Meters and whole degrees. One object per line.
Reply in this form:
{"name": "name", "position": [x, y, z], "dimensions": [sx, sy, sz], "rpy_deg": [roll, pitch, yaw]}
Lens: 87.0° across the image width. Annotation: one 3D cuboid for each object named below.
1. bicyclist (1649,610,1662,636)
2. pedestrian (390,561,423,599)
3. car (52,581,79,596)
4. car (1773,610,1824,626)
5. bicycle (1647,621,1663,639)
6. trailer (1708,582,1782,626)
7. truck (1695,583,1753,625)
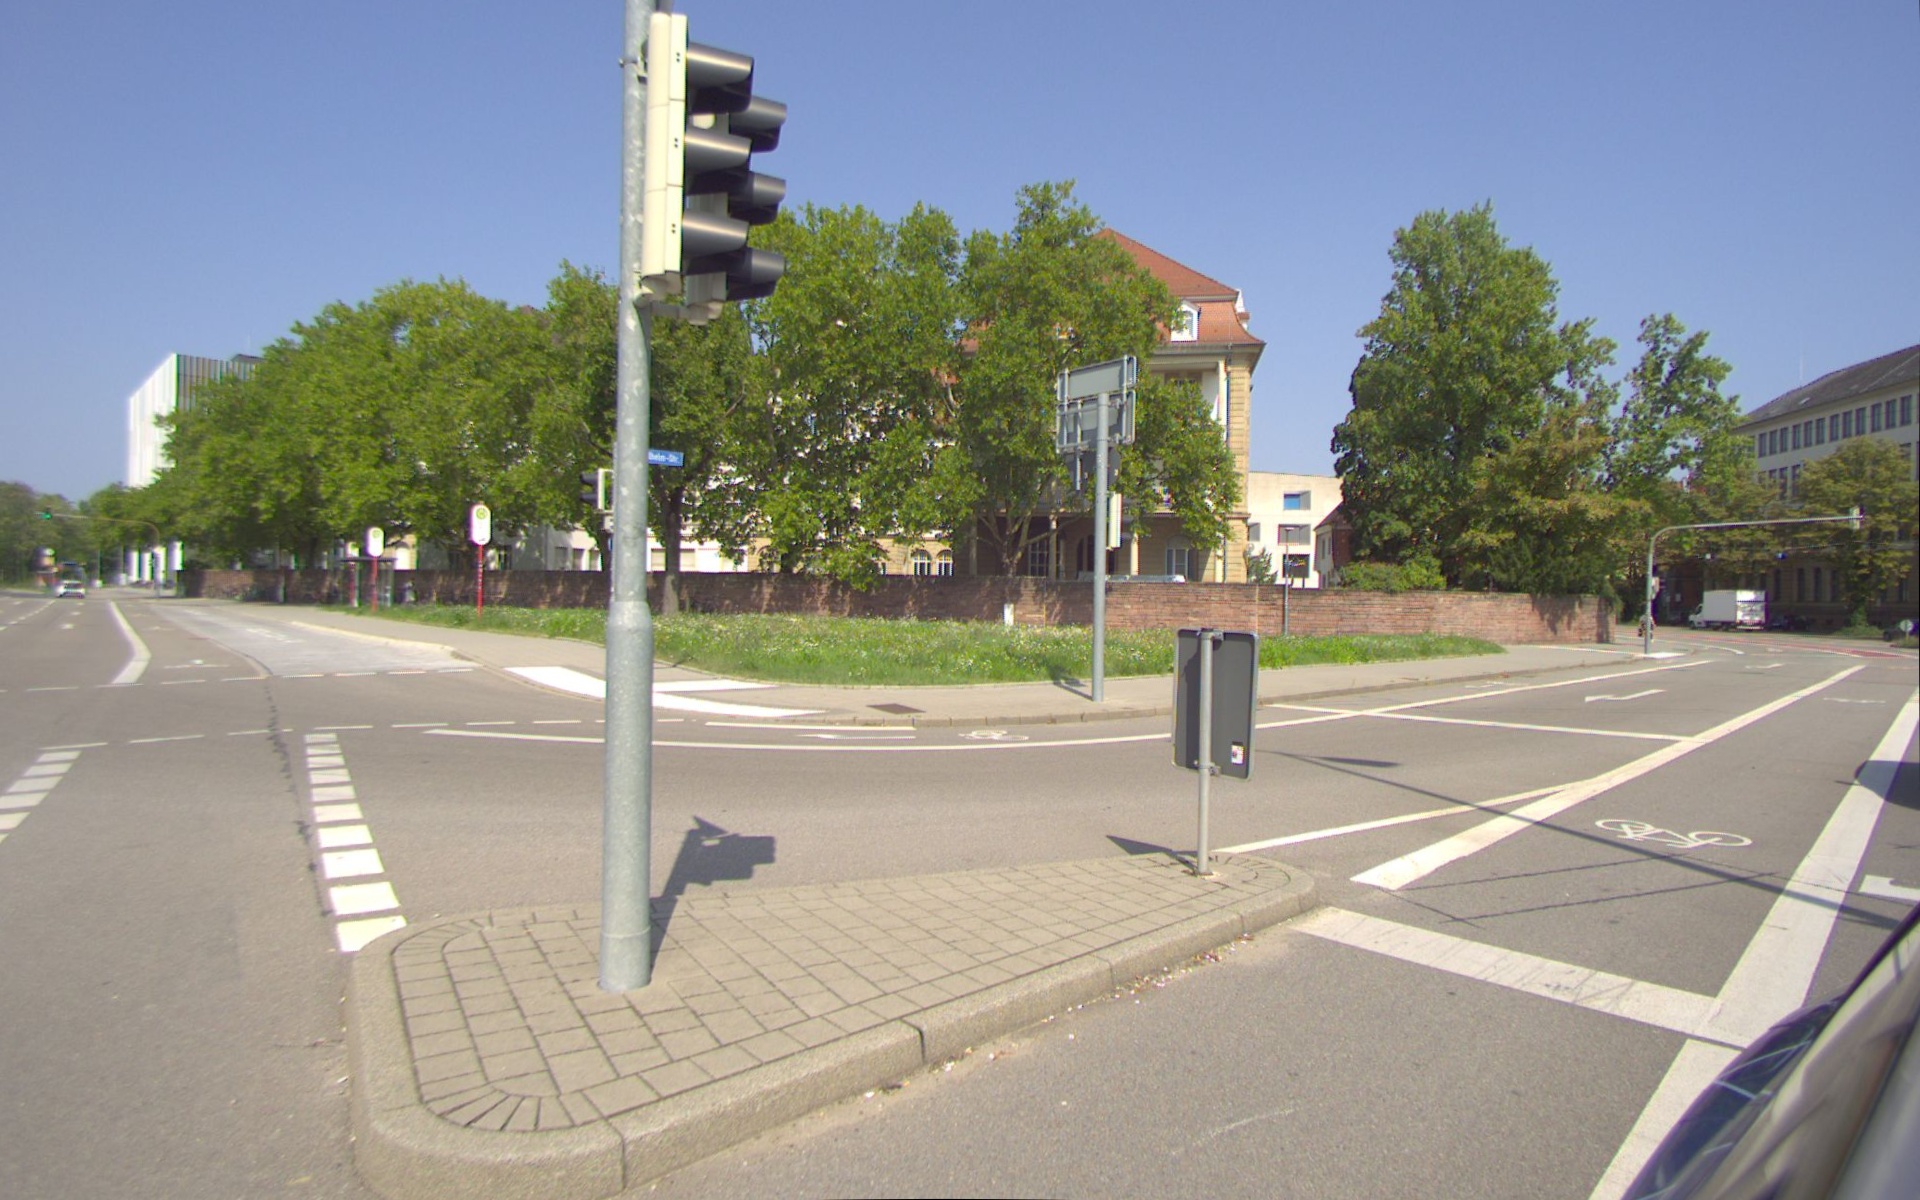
{"name": "bicyclist", "position": [34.120, 1.132, 49.641], "dimensions": [0.432, 1.248, 0.532], "rpy_deg": [1, 0, 43]}
{"name": "pedestrian", "position": [-30.014, -1.087, 54.870], "dimensions": [1.223, 2.039, 1.062], "rpy_deg": [1, 0, 27]}
{"name": "car", "position": [-74.106, -0.935, 83.897], "dimensions": [1.562, 1.151, 3.259], "rpy_deg": [1, 1, -40]}
{"name": "car", "position": [69.261, 1.496, 83.598], "dimensions": [3.006, 1.191, 1.249], "rpy_deg": [1, 0, 7]}
{"name": "bicycle", "position": [34.093, 1.474, 49.618], "dimensions": [0.436, 0.822, 1.463], "rpy_deg": [1, 0, 43]}
{"name": "trailer", "position": [62.189, 0.296, 80.283], "dimensions": [2.401, 3.329, 5.077], "rpy_deg": [1, 0, 8]}
{"name": "truck", "position": [62.565, 0.276, 82.916], "dimensions": [2.389, 3.329, 3.419], "rpy_deg": [1, 0, 8]}
